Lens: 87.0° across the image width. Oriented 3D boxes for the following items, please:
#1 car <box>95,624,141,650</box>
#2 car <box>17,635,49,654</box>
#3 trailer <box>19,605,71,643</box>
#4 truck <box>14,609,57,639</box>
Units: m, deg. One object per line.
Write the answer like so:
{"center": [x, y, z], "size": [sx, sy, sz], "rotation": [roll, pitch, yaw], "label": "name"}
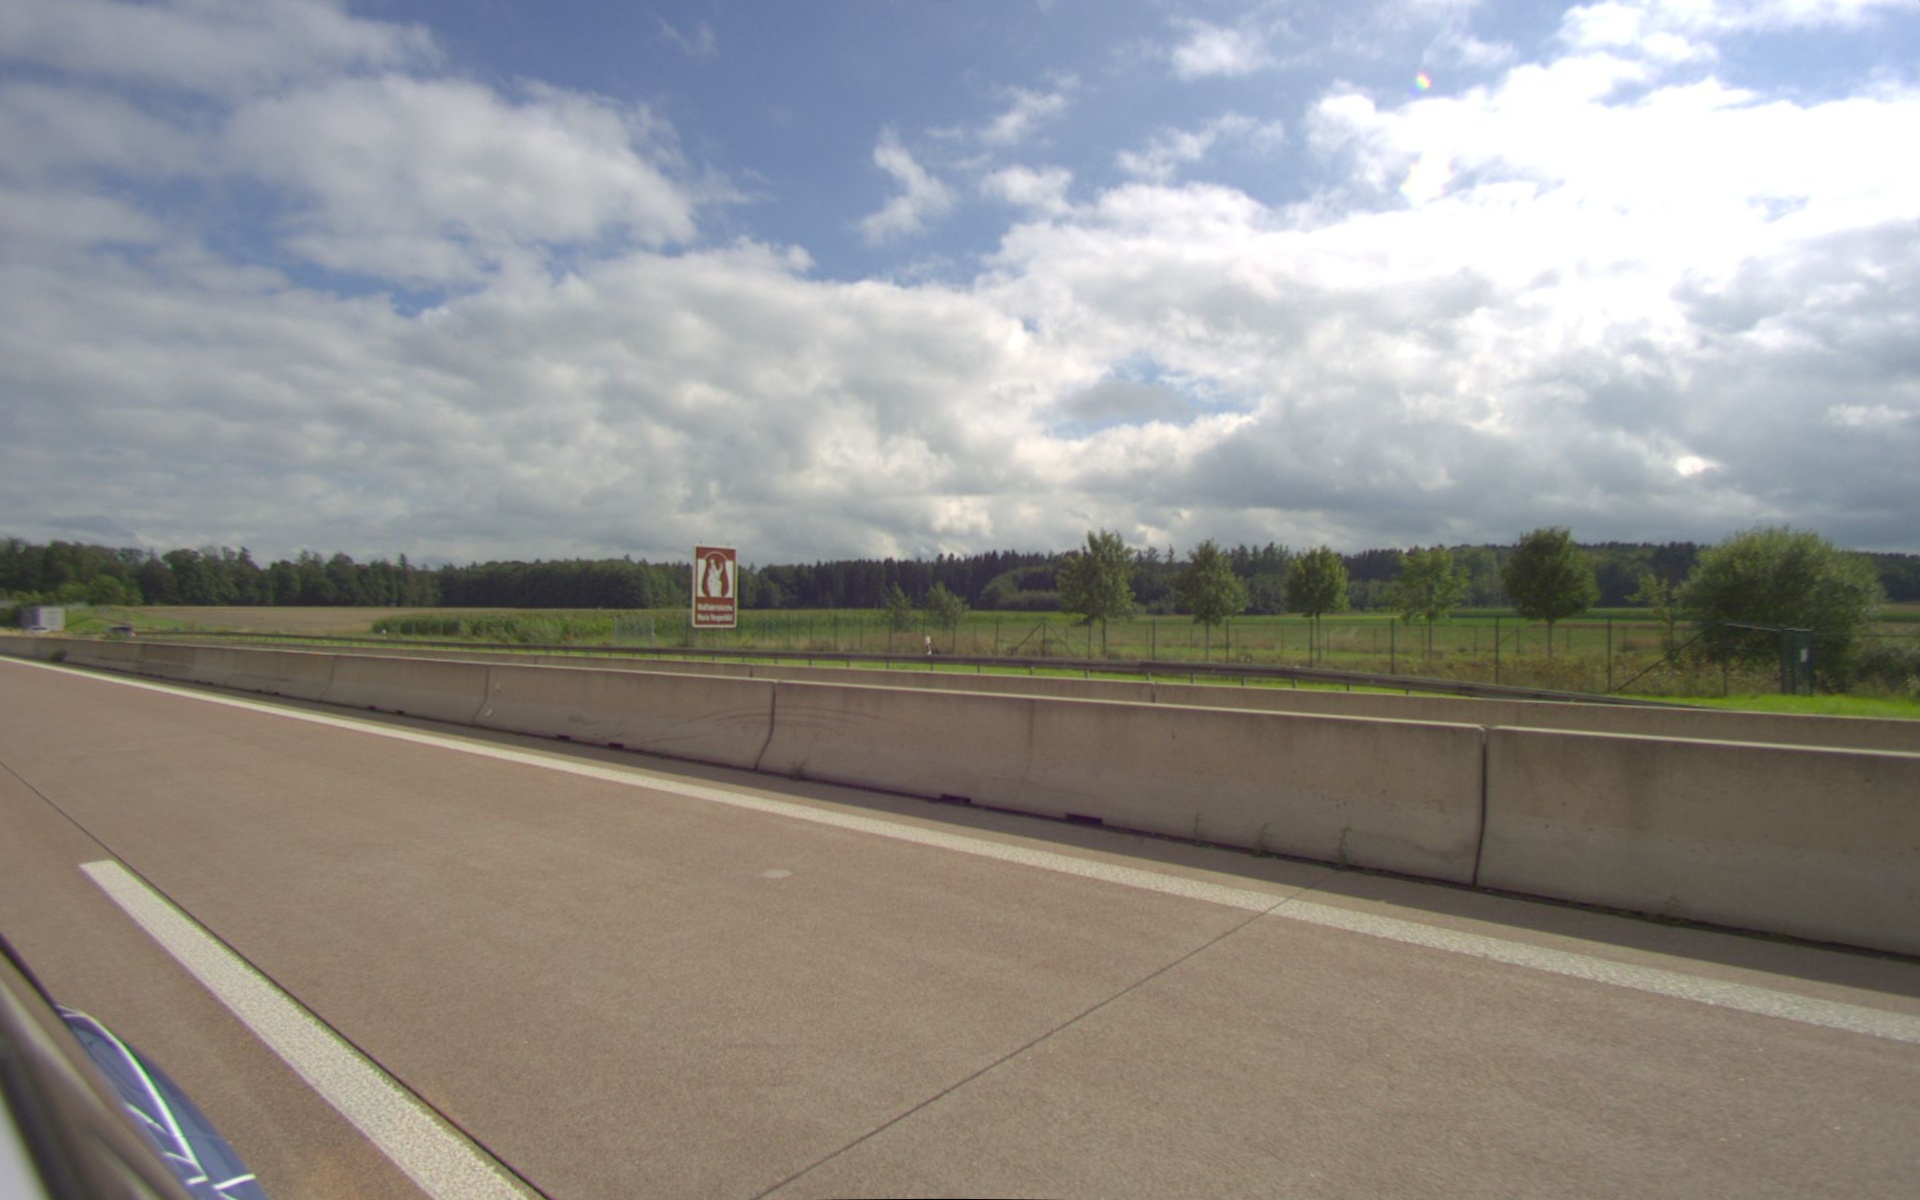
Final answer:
{"center": [-62.938, 2.719, 75.626], "size": [4.192, 1.875, 1.973], "rotation": [-2, -2, 40], "label": "car"}
{"center": [-97.931, 4.690, 106.936], "size": [3.997, 1.875, 1.973], "rotation": [-2, -2, 40], "label": "car"}
{"center": [-116.059, 3.033, 128.291], "size": [13.865, 4.611, 3.369], "rotation": [-2, -1, 42], "label": "trailer"}
{"center": [-122.344, 3.189, 133.899], "size": [7.462, 3.853, 3.374], "rotation": [-2, -1, 42], "label": "truck"}
